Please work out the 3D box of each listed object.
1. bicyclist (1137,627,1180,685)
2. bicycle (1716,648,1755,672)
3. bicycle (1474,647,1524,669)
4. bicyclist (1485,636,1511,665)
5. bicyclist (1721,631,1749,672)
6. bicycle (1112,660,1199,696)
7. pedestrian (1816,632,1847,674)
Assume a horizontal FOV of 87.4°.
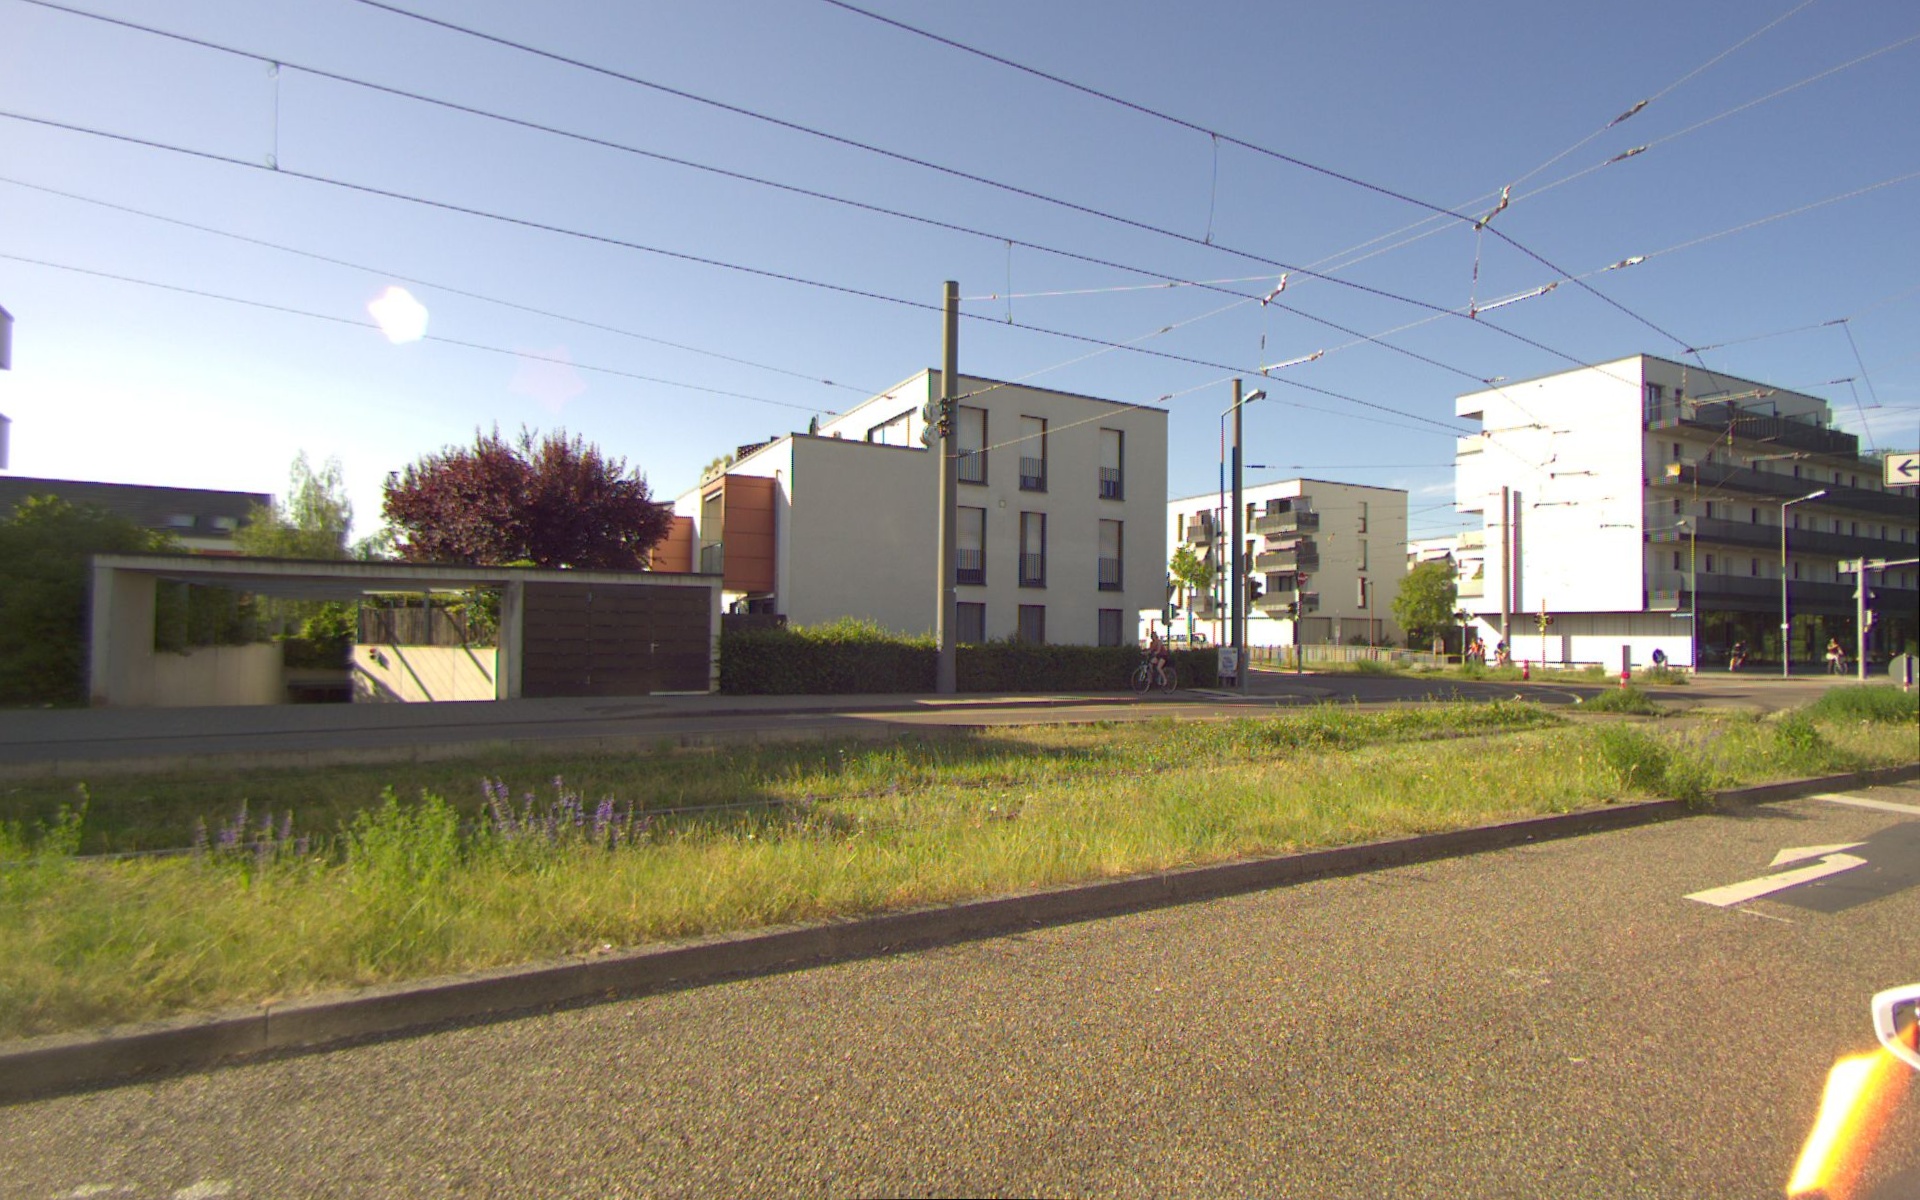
[{"bbox_3d":[5.327,1.486,26.952,0.739,1.510,0.883,2,-2,-36],"label":"bicyclist"},{"bbox_3d":[39.390,3.049,51.011,1.615,1.159,0.743,1,-2,-15],"label":"bicycle"},{"bbox_3d":[30.391,3.295,56.678,2.783,1.214,0.899,1,-2,-21],"label":"bicycle"},{"bbox_3d":[30.365,2.837,56.681,0.900,1.613,0.891,1,-2,-21],"label":"bicyclist"},{"bbox_3d":[39.382,2.620,51.025,0.781,2.040,0.809,1,-2,-14],"label":"bicyclist"},{"bbox_3d":[5.248,2.066,26.877,2.460,0.904,0.893,2,-3,-37],"label":"bicycle"},{"bbox_3d":[42.983,2.595,49.559,0.752,2.040,0.972,2,-2,-32],"label":"pedestrian"}]
